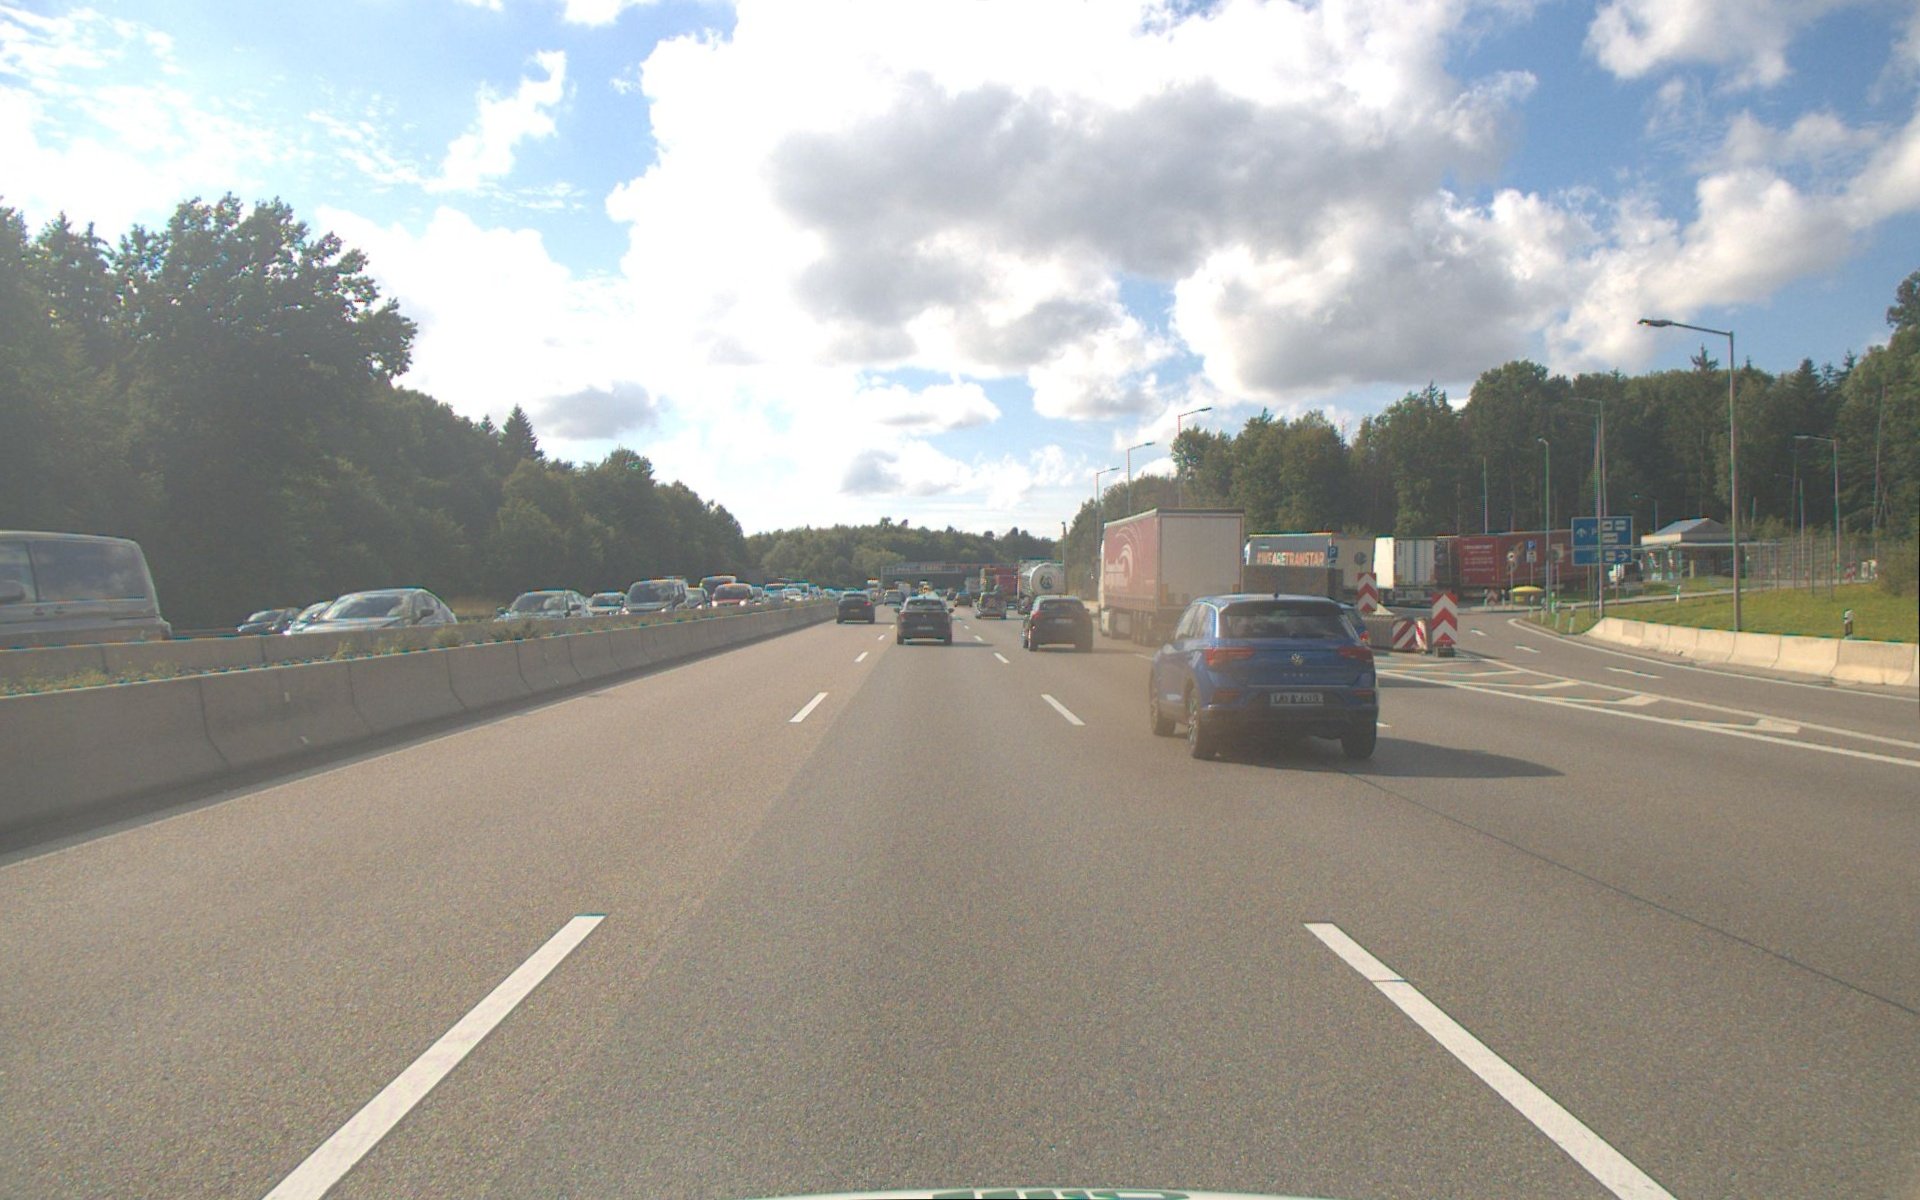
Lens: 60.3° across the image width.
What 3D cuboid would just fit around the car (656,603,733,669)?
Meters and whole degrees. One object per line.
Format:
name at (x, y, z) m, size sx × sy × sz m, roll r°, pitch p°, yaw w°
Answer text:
car at (-8.635, 1.193, 54.074) m, size 1.779 × 2.049 × 4.451 m, roll 1°, pitch -2°, yaw 0°

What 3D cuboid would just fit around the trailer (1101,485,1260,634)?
trailer at (6.798, -0.985, 53.469) m, size 2.977 × 4.106 × 13.884 m, roll 1°, pitch -1°, yaw -1°

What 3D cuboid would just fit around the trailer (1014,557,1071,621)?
trailer at (5.573, -0.642, 113.956) m, size 2.975 × 4.086 × 12.240 m, roll 0°, pitch -1°, yaw -2°

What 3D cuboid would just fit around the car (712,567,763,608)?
car at (-10.135, -0.548, 75.779) m, size 1.838 × 1.793 × 5.291 m, roll 1°, pitch 0°, yaw -3°

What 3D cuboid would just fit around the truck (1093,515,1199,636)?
truck at (6.670, -0.797, 60.228) m, size 3.018 × 4.135 × 6.067 m, roll 1°, pitch -2°, yaw -1°

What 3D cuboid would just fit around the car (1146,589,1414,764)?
car at (3.145, 0.682, 17.224) m, size 1.885 × 1.568 × 4.645 m, roll 0°, pitch 0°, yaw 0°

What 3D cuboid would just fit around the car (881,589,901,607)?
car at (-7.553, -0.195, 181.576) m, size 2.111 × 1.807 × 3.999 m, roll 1°, pitch -1°, yaw -1°

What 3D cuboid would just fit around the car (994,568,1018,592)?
car at (4.134, -1.778, 149.558) m, size 1.953 × 2.049 × 3.998 m, roll 1°, pitch -2°, yaw -1°

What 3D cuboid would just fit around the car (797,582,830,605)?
car at (-10.865, -0.500, 123.088) m, size 1.953 × 1.600 × 5.329 m, roll 2°, pitch 0°, yaw 0°

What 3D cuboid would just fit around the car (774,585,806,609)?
car at (-11.769, -0.244, 114.740) m, size 1.729 × 1.600 × 4.357 m, roll 1°, pitch 0°, yaw 0°

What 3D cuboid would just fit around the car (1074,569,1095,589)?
car at (13.861, -2.338, 184.131) m, size 1.953 × 2.049 × 3.999 m, roll -1°, pitch 0°, yaw -1°

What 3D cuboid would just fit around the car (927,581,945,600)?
car at (-2.802, -1.090, 191.274) m, size 1.953 × 2.049 × 3.998 m, roll -1°, pitch -1°, yaw -1°

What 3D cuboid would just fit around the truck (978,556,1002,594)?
truck at (3.202, -2.640, 177.310) m, size 2.310 × 3.635 × 11.264 m, roll 1°, pitch -1°, yaw 0°

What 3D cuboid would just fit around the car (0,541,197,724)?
car at (-9.383, 0.266, 15.795) m, size 1.953 × 1.600 × 4.815 m, roll 1°, pitch 0°, yaw 0°

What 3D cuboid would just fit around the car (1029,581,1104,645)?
car at (2.947, 0.373, 46.496) m, size 1.763 × 1.673 × 3.999 m, roll 1°, pitch -1°, yaw -1°

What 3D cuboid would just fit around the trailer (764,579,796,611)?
trailer at (-16.493, -0.458, 151.853) m, size 2.233 × 2.834 × 8.537 m, roll 1°, pitch 0°, yaw -2°

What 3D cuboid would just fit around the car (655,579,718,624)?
car at (-11.199, 0.085, 67.905) m, size 1.820 × 1.793 × 4.458 m, roll 1°, pitch -1°, yaw 0°

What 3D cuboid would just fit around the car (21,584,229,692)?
car at (-16.955, 0.779, 33.858) m, size 1.953 × 2.049 × 4.458 m, roll 1°, pitch -2°, yaw 0°

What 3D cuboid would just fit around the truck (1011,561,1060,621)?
truck at (5.424, -0.595, 120.063) m, size 2.984 × 4.233 × 7.123 m, roll 0°, pitch -1°, yaw -2°

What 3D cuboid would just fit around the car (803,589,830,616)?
car at (-11.510, 0.243, 132.938) m, size 1.953 × 2.049 × 4.674 m, roll 1°, pitch -2°, yaw -2°

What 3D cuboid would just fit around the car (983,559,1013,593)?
car at (3.670, -2.299, 160.268) m, size 2.808 × 3.044 × 5.148 m, roll 1°, pitch -2°, yaw 0°

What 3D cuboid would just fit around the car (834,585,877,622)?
car at (-5.285, 0.154, 83.777) m, size 1.953 × 1.807 × 3.999 m, roll -1°, pitch 0°, yaw -1°

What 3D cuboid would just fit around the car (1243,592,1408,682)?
car at (6.725, 0.670, 30.868) m, size 1.682 × 1.538 × 4.295 m, roll -1°, pitch -1°, yaw -7°

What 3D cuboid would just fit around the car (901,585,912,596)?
car at (-8.081, -1.450, 249.327) m, size 1.590 × 1.496 × 3.814 m, roll 1°, pitch 0°, yaw -1°

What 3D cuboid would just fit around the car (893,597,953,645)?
car at (-1.189, 0.655, 51.671) m, size 1.700 × 1.389 × 3.997 m, roll 1°, pitch -1°, yaw -4°

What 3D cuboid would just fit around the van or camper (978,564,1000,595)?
van or camper at (3.188, -2.223, 184.490) m, size 2.303 × 3.199 × 5.709 m, roll 1°, pitch -2°, yaw 0°

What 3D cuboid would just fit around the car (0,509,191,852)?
car at (-6.453, 0.446, 9.829) m, size 1.953 × 1.954 × 3.999 m, roll 1°, pitch 1°, yaw -1°

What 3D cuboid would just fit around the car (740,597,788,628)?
car at (-10.615, 0.640, 89.711) m, size 1.953 × 1.600 × 5.207 m, roll 1°, pitch 0°, yaw 0°

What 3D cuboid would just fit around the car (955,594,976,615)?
car at (0.539, 0.457, 168.739) m, size 1.953 × 2.049 × 3.999 m, roll 1°, pitch -1°, yaw -1°

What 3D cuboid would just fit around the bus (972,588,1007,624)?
bus at (1.765, 0.367, 99.289) m, size 1.953 × 2.049 × 3.999 m, roll 1°, pitch -2°, yaw -1°

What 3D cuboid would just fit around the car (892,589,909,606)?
car at (-7.545, -0.323, 209.897) m, size 1.954 × 2.049 × 3.997 m, roll 1°, pitch 0°, yaw -4°

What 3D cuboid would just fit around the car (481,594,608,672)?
car at (-10.075, 0.824, 40.416) m, size 1.953 × 1.790 × 4.458 m, roll 1°, pitch -2°, yaw 0°
